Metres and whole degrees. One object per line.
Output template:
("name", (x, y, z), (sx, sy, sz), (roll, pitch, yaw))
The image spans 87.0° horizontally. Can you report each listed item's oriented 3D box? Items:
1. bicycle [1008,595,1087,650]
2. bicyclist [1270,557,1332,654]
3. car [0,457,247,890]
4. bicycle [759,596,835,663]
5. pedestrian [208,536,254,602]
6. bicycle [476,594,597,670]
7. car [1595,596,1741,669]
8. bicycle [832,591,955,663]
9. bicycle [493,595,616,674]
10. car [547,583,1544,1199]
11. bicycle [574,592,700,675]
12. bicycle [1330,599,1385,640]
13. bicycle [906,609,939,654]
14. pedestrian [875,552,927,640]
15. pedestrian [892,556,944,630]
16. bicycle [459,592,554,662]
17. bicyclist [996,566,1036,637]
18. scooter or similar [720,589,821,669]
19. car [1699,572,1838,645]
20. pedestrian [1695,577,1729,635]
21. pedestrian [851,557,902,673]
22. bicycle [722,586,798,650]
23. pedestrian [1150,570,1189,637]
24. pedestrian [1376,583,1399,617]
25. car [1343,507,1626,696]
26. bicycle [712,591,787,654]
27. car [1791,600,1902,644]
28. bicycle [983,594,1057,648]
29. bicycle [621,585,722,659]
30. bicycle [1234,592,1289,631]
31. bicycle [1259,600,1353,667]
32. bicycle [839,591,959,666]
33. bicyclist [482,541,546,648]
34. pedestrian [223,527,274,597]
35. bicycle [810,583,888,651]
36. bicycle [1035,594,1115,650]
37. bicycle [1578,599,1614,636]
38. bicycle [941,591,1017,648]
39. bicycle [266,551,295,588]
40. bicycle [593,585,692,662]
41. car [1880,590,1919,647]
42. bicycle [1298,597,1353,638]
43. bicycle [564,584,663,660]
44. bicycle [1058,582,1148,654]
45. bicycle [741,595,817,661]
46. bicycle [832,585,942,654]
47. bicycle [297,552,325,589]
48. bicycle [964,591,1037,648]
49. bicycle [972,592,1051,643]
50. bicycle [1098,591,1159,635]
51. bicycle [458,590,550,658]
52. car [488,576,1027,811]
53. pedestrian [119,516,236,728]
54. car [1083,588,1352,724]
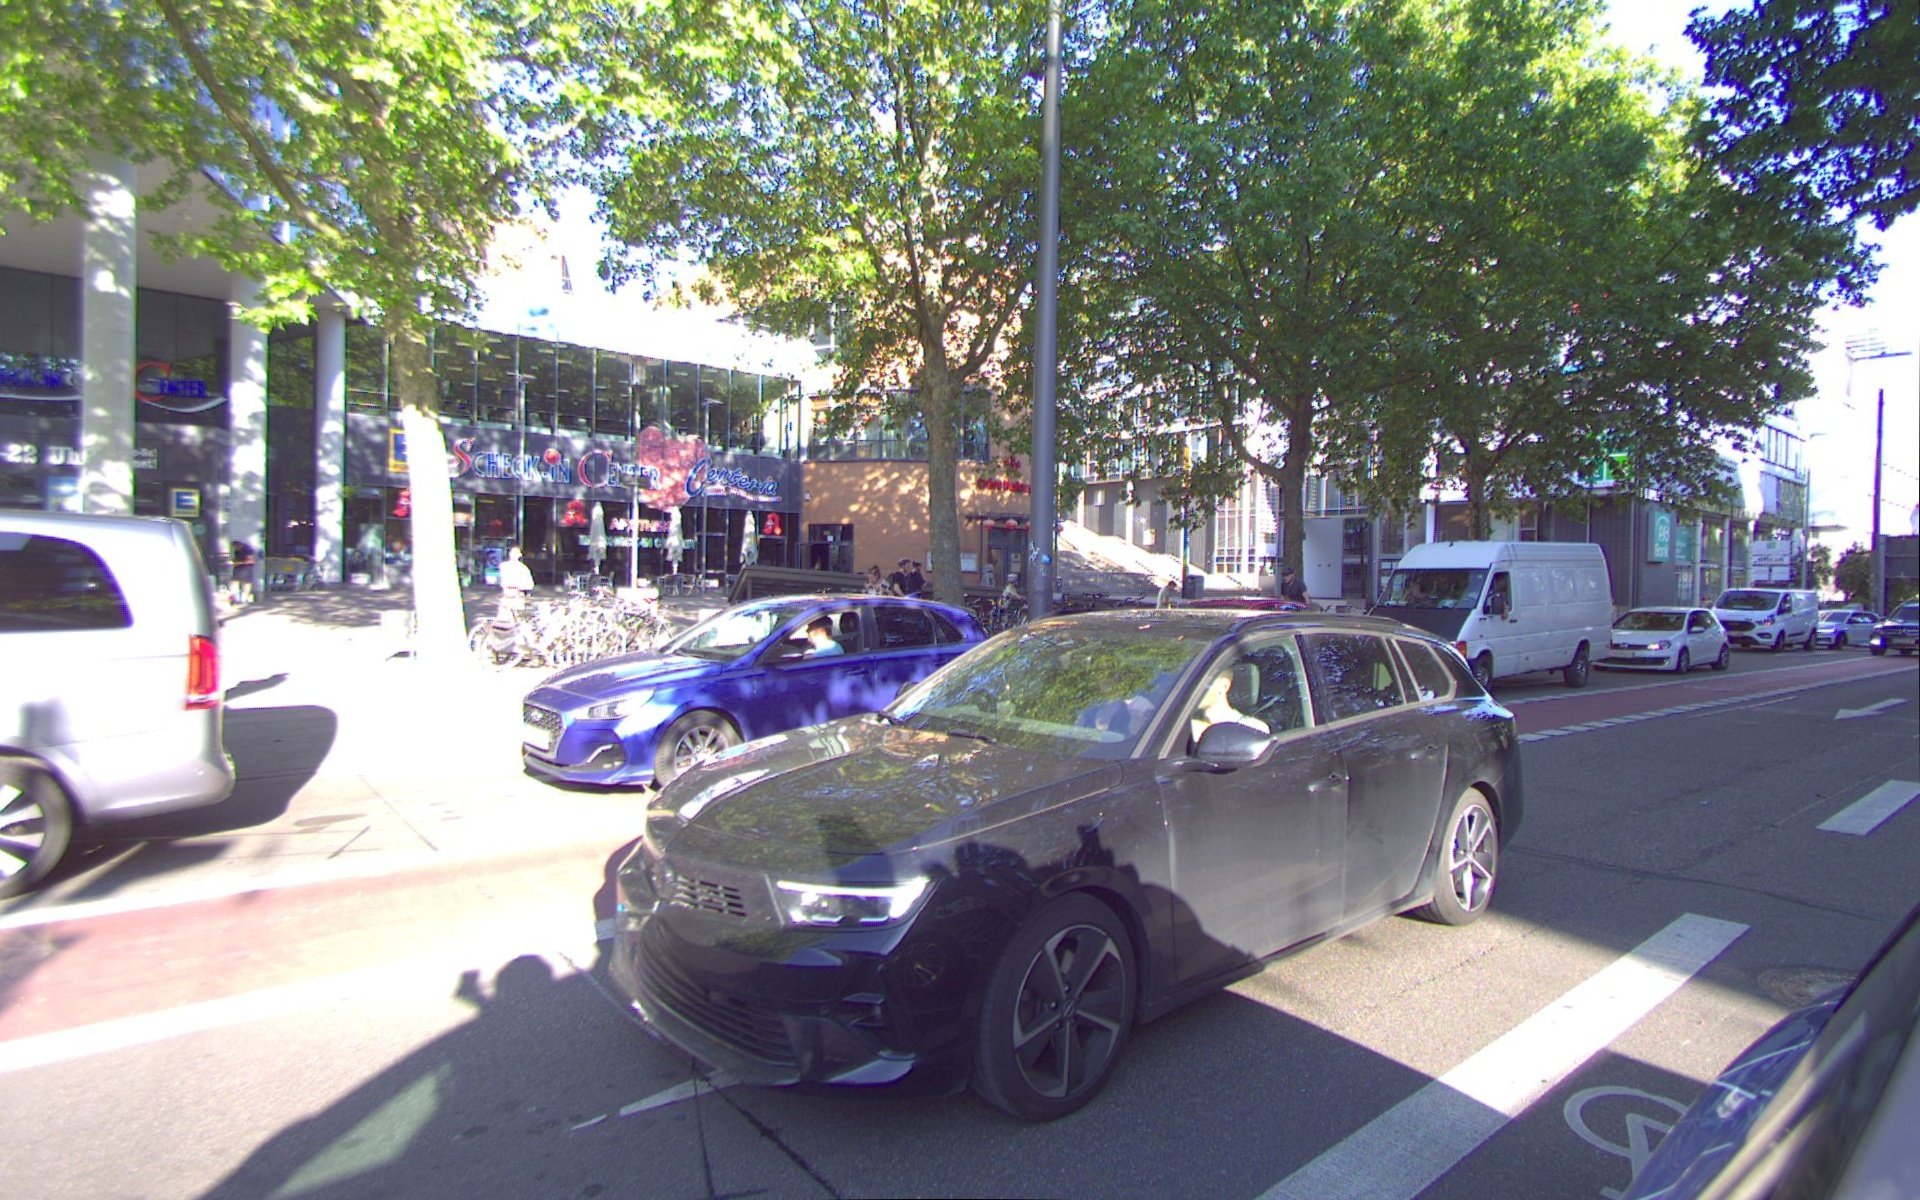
("bicycle", (1.759, 0.431, 20.206), (1.626, 1.044, 0.596), (0, 2, -41))
("bicyclist", (6.155, 0.086, 18.278), (0.701, 1.709, 0.752), (1, 1, -38))
("car", (-6.263, 0.337, 4.383), (5.047, 1.991, 1.997), (0, 0, -41))
("bicycle", (-2.997, 0.518, 18.695), (0.420, 1.174, 1.455), (2, 1, 41))
("pedestrian", (-18.869, -0.806, 26.188), (0.851, 1.661, 0.966), (0, 1, -44))
("bicycle", (-6.148, 0.439, 14.740), (1.546, 1.038, 0.461), (0, 2, -43))
("car", (16.044, 0.671, 22.879), (3.798, 1.482, 1.671), (0, 2, -38))
("bicycle", (-1.099, 0.440, 16.609), (1.908, 1.130, 0.598), (1, 1, -12))
("bicycle", (-5.701, 0.462, 14.289), (1.546, 1.038, 0.461), (0, 2, -43))
("car", (0.712, 0.679, 4.348), (4.270, 1.443, 1.825), (0, 0, -41))
("bicycle", (-4.457, 0.439, 14.001), (1.542, 1.070, 0.630), (0, 1, -35))
("bicycle", (10.668, 0.516, 27.117), (1.624, 1.060, 0.597), (0, 1, -37))
("bicycle", (-0.698, 0.571, 18.664), (0.391, 0.770, 1.114), (1, 1, -13))
("pedestrian", (-1.241, -0.094, 21.157), (0.755, 1.779, 0.821), (1, 1, -30))
("pedestrian", (-1.038, -0.177, 24.999), (1.000, 1.779, 0.789), (0, 1, -35))
("bicycle", (-6.933, 0.403, 15.502), (1.293, 1.038, 0.397), (1, 1, -24))
("bicyclist", (1.320, 0.031, 23.872), (0.810, 1.636, 0.561), (1, 1, 16))
("scooter or similar", (-2.939, 0.440, 15.721), (1.249, 1.156, 0.905), (-2, 0, 37))
("car", (26.267, 0.247, 32.826), (5.189, 2.160, 2.130), (0, 2, -35))
("pedestrian", (26.951, 0.204, 36.286), (0.652, 2.039, 0.809), (0, 0, -34))
("pedestrian", (-1.342, 0.228, 16.156), (0.644, 1.808, 0.810), (1, 1, -14))
("bicycle", (-3.816, 0.322, 19.367), (0.420, 1.174, 1.455), (2, 1, 41))
("pedestrian", (5.299, 0.073, 25.620), (0.623, 1.651, 0.719), (1, 1, -34))
("pedestrian", (18.938, 0.003, 44.809), (0.589, 1.474, 0.713), (1, 1, -37))
("car", (9.286, 0.016, 17.579), (6.443, 2.759, 1.998), (0, 0, -39))
("bicycle", (-4.108, 0.421, 19.821), (0.420, 1.174, 1.455), (2, 1, 41))
("car", (31.581, 0.759, 36.027), (3.941, 1.437, 1.789), (0, 2, -30))
("bicycle", (1.248, 0.415, 20.817), (1.626, 1.044, 0.503), (0, 1, -41))
("bicycle", (-4.432, 0.319, 15.622), (1.451, 1.095, 0.421), (0, 1, -42))
("bicycle", (8.498, 0.312, 28.506), (1.624, 1.060, 0.597), (0, 1, -37))
("bicycle", (6.320, 0.583, 18.431), (2.087, 1.135, 0.551), (0, 1, -38))
("bicycle", (-0.969, 0.451, 15.935), (1.788, 1.130, 0.598), (1, 1, -13))
("bicyclist", (-7.715, -0.111, 17.530), (0.738, 1.789, 0.853), (1, 1, -3))
("pedestrian", (-19.502, -1.043, 27.744), (0.834, 1.866, 1.002), (1, 1, -15))
("bicycle", (-1.991, 0.291, 18.319), (0.478, 1.174, 1.455), (2, 1, 41))
("bicycle", (2.252, 0.410, 19.685), (1.626, 1.044, 0.596), (0, 2, -41))
("bicycle", (20.620, 0.555, 32.801), (1.511, 1.173, 0.514), (0, 1, -39))
("bicycle", (0.416, 0.398, 21.639), (1.662, 1.174, 0.479), (0, 1, -37))
("bicycle", (-21.298, -0.962, 31.729), (0.705, 1.142, 1.921), (1, 2, -32))
("bicycle", (-5.029, 0.355, 16.094), (1.451, 1.174, 0.421), (0, 1, -42))
("car", (29.684, 0.559, 30.592), (3.943, 1.658, 1.788), (0, 2, -33))
("bicycle", (10.058, 0.470, 27.825), (1.624, 1.060, 0.597), (0, 1, -37))
("bicycle", (-5.632, 0.342, 16.484), (1.450, 1.174, 0.421), (0, 1, -40))
("bicycle", (2.720, 0.323, 19.160), (1.843, 1.280, 0.596), (0, 1, -41))
("bicycle", (-3.383, 0.508, 19.016), (0.420, 1.174, 1.455), (2, 1, 41))
("bicycle", (-1.263, 0.333, 17.332), (1.788, 1.130, 0.598), (1, 1, -13))
("bicycle", (-20.649, -0.953, 32.215), (0.705, 1.142, 1.921), (1, 2, -32))
("bicycle", (0.869, 0.391, 21.292), (1.626, 1.151, 0.503), (0, 1, -41))
("bicycle", (1.221, 0.404, 23.908), (1.753, 1.140, 0.565), (2, 1, 16))
("bicycle", (4.493, 0.343, 26.961), (1.622, 1.140, 0.598), (0, 1, -32))
("bicycle", (-7.165, 0.373, 15.931), (1.293, 1.038, 0.397), (1, 1, -24))
("car", (-1.536, 0.585, 8.559), (4.143, 1.482, 1.768), (0, 2, -41))
("pedestrian", (-7.143, 0.175, 9.234), (0.794, 1.808, 0.873), (0, 1, -41))
("car", (3.340, 0.598, 12.811), (3.558, 1.482, 1.561), (0, 1, -41))
